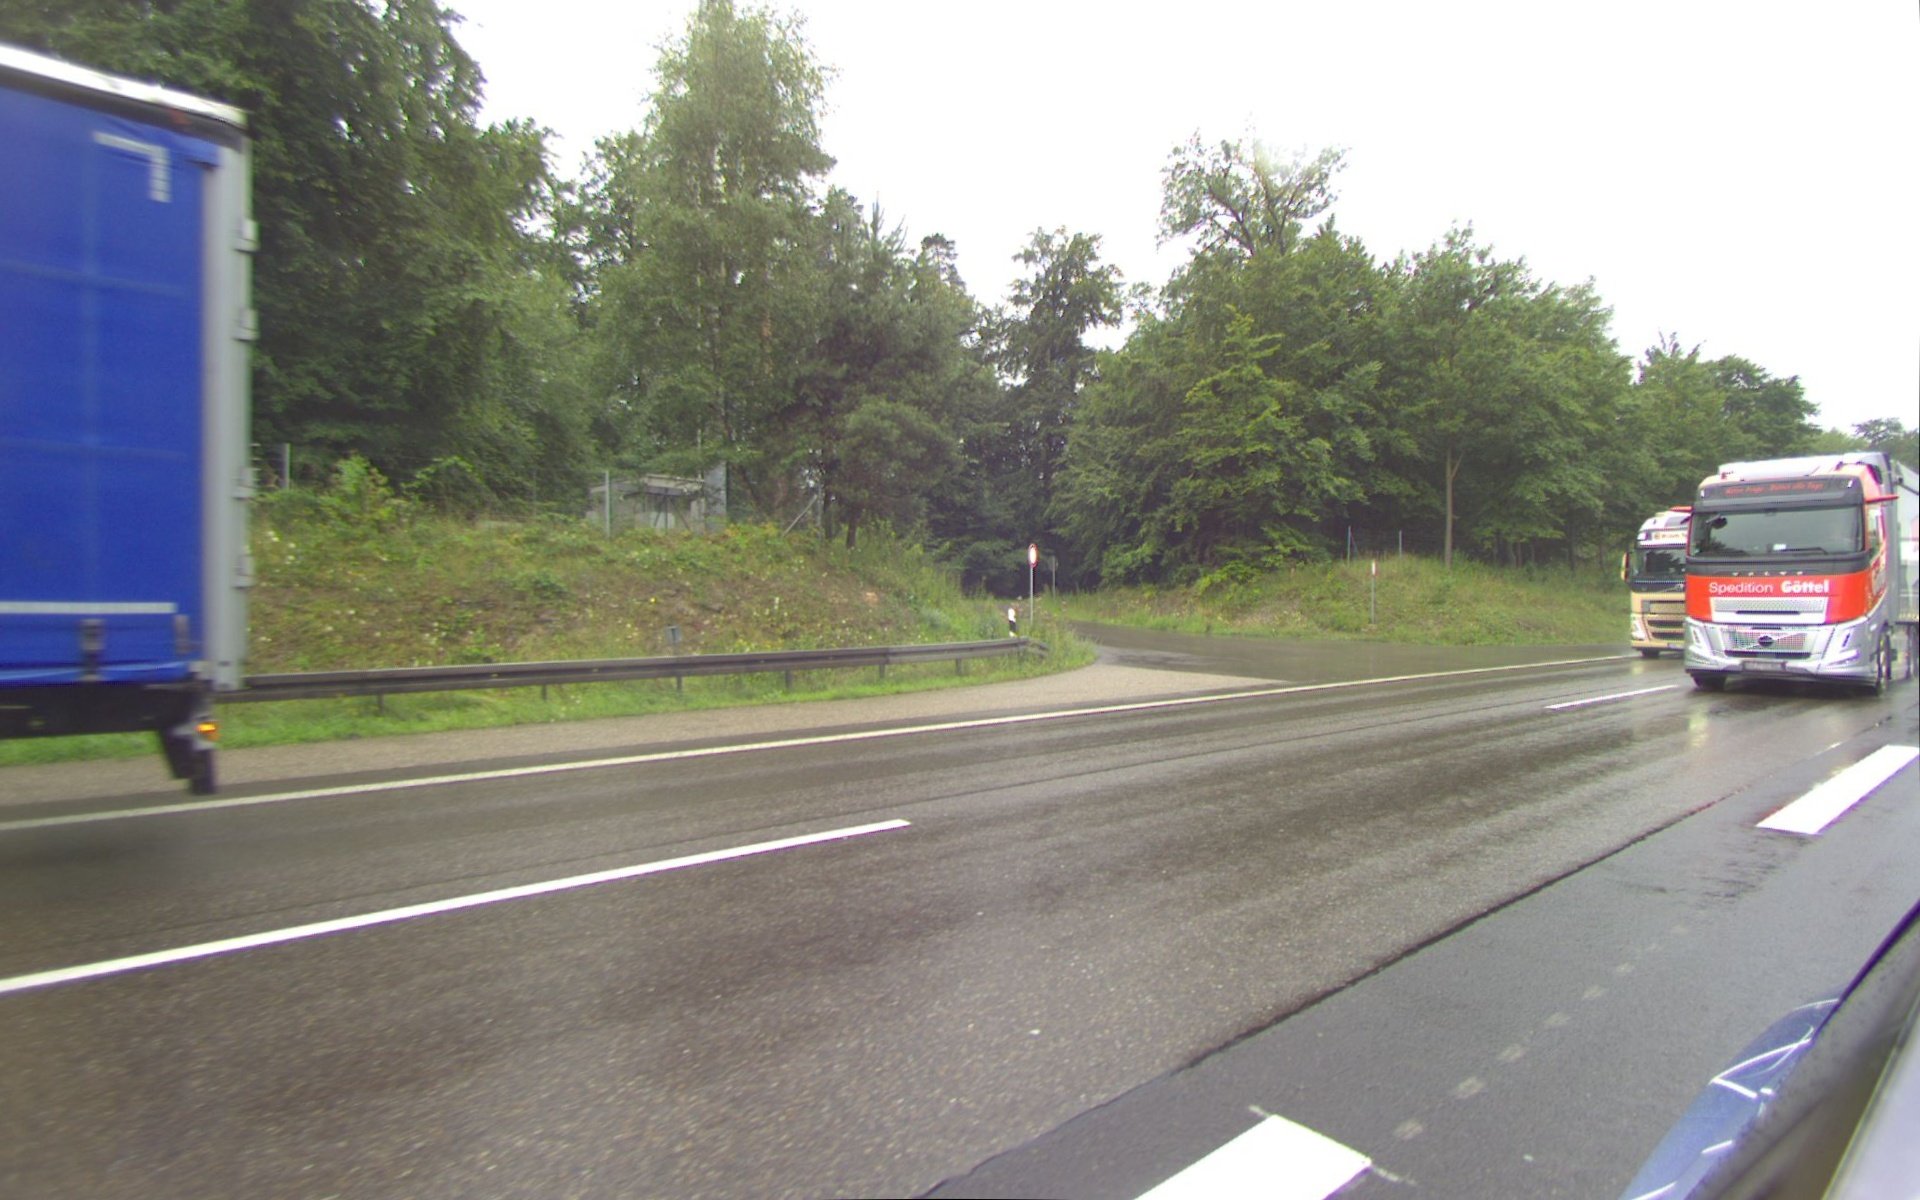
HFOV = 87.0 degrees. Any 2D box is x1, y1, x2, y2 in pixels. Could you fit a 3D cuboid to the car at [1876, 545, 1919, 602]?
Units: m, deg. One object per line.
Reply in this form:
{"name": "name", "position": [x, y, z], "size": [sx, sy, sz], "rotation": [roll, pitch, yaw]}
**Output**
{"name": "car", "position": [35.541, -0.946, 37.413], "size": [3.929, 2.039, 1.997], "rotation": [0, 0, -40]}

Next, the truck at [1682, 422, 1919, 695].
{"name": "truck", "position": [14.935, -0.629, 17.620], "size": [5.502, 4.007, 2.606], "rotation": [0, 0, -41]}

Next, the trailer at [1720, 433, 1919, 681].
{"name": "trailer", "position": [20.020, -0.736, 22.032], "size": [14.326, 4.007, 2.606], "rotation": [0, 0, -41]}

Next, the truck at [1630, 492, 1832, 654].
{"name": "truck", "position": [22.454, -0.692, 29.176], "size": [9.764, 4.007, 2.606], "rotation": [0, 0, -40]}

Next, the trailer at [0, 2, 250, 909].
{"name": "trailer", "position": [-9.511, -0.627, 1.687], "size": [13.474, 4.064, 2.558], "rotation": [0, 0, -41]}
